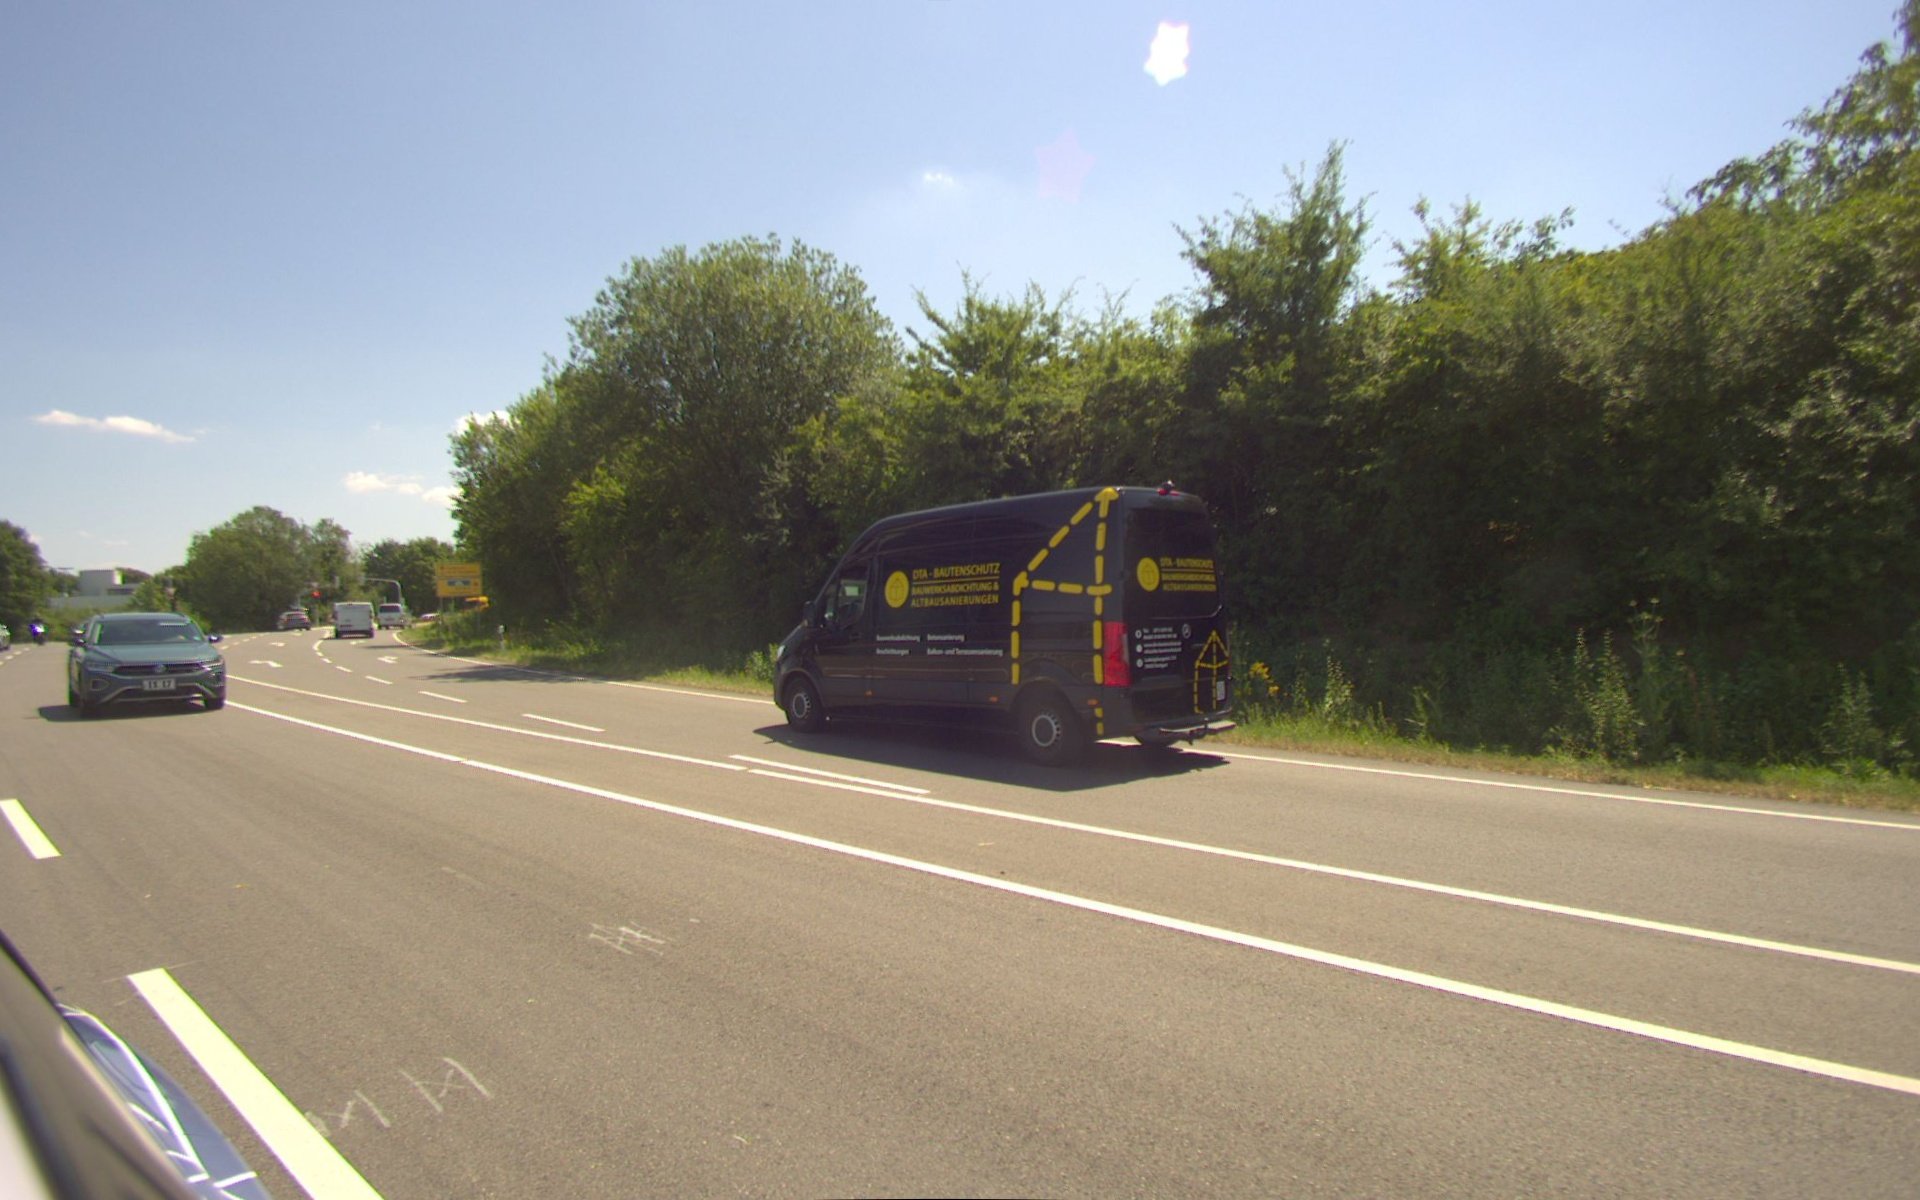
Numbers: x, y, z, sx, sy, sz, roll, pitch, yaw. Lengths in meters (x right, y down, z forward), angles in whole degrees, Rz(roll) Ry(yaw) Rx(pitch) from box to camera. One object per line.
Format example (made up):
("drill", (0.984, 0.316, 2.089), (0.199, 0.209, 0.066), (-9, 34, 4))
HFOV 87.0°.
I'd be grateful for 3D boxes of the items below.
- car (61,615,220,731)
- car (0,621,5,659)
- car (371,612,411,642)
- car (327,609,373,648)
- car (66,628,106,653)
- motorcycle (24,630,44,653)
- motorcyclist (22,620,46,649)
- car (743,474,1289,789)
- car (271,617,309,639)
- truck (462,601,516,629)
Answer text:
("car", (-13.409, 1.069, 16.471), (1.812, 1.598, 4.397), (0, -1, -41))
("car", (-42.379, 1.788, 43.360), (1.906, 1.598, 4.184), (-4, 0, -42))
("car", (-43.497, 2.054, 77.437), (1.946, 2.028, 4.856), (-4, 0, -22))
("car", (-34.240, 1.576, 56.927), (2.047, 2.029, 5.825), (-1, 0, -30))
("car", (-60.570, 2.787, 70.168), (2.086, 1.603, 4.457), (0, 0, -41))
("motorcycle", (-48.045, 2.149, 52.505), (0.723, 1.147, 2.074), (2, -3, -44))
("motorcyclist", (-48.016, 1.800, 52.484), (0.848, 1.500, 1.162), (1, -3, -44))
("car", (0.257, 0.285, 11.121), (6.039, 2.560, 2.163), (-1, 0, 45))
("car", (-52.381, 2.192, 79.076), (1.969, 1.449, 4.228), (-3, 0, -41))
("truck", (-66.375, 2.118, 142.745), (2.961, 3.564, 6.819), (-4, 0, 17))
